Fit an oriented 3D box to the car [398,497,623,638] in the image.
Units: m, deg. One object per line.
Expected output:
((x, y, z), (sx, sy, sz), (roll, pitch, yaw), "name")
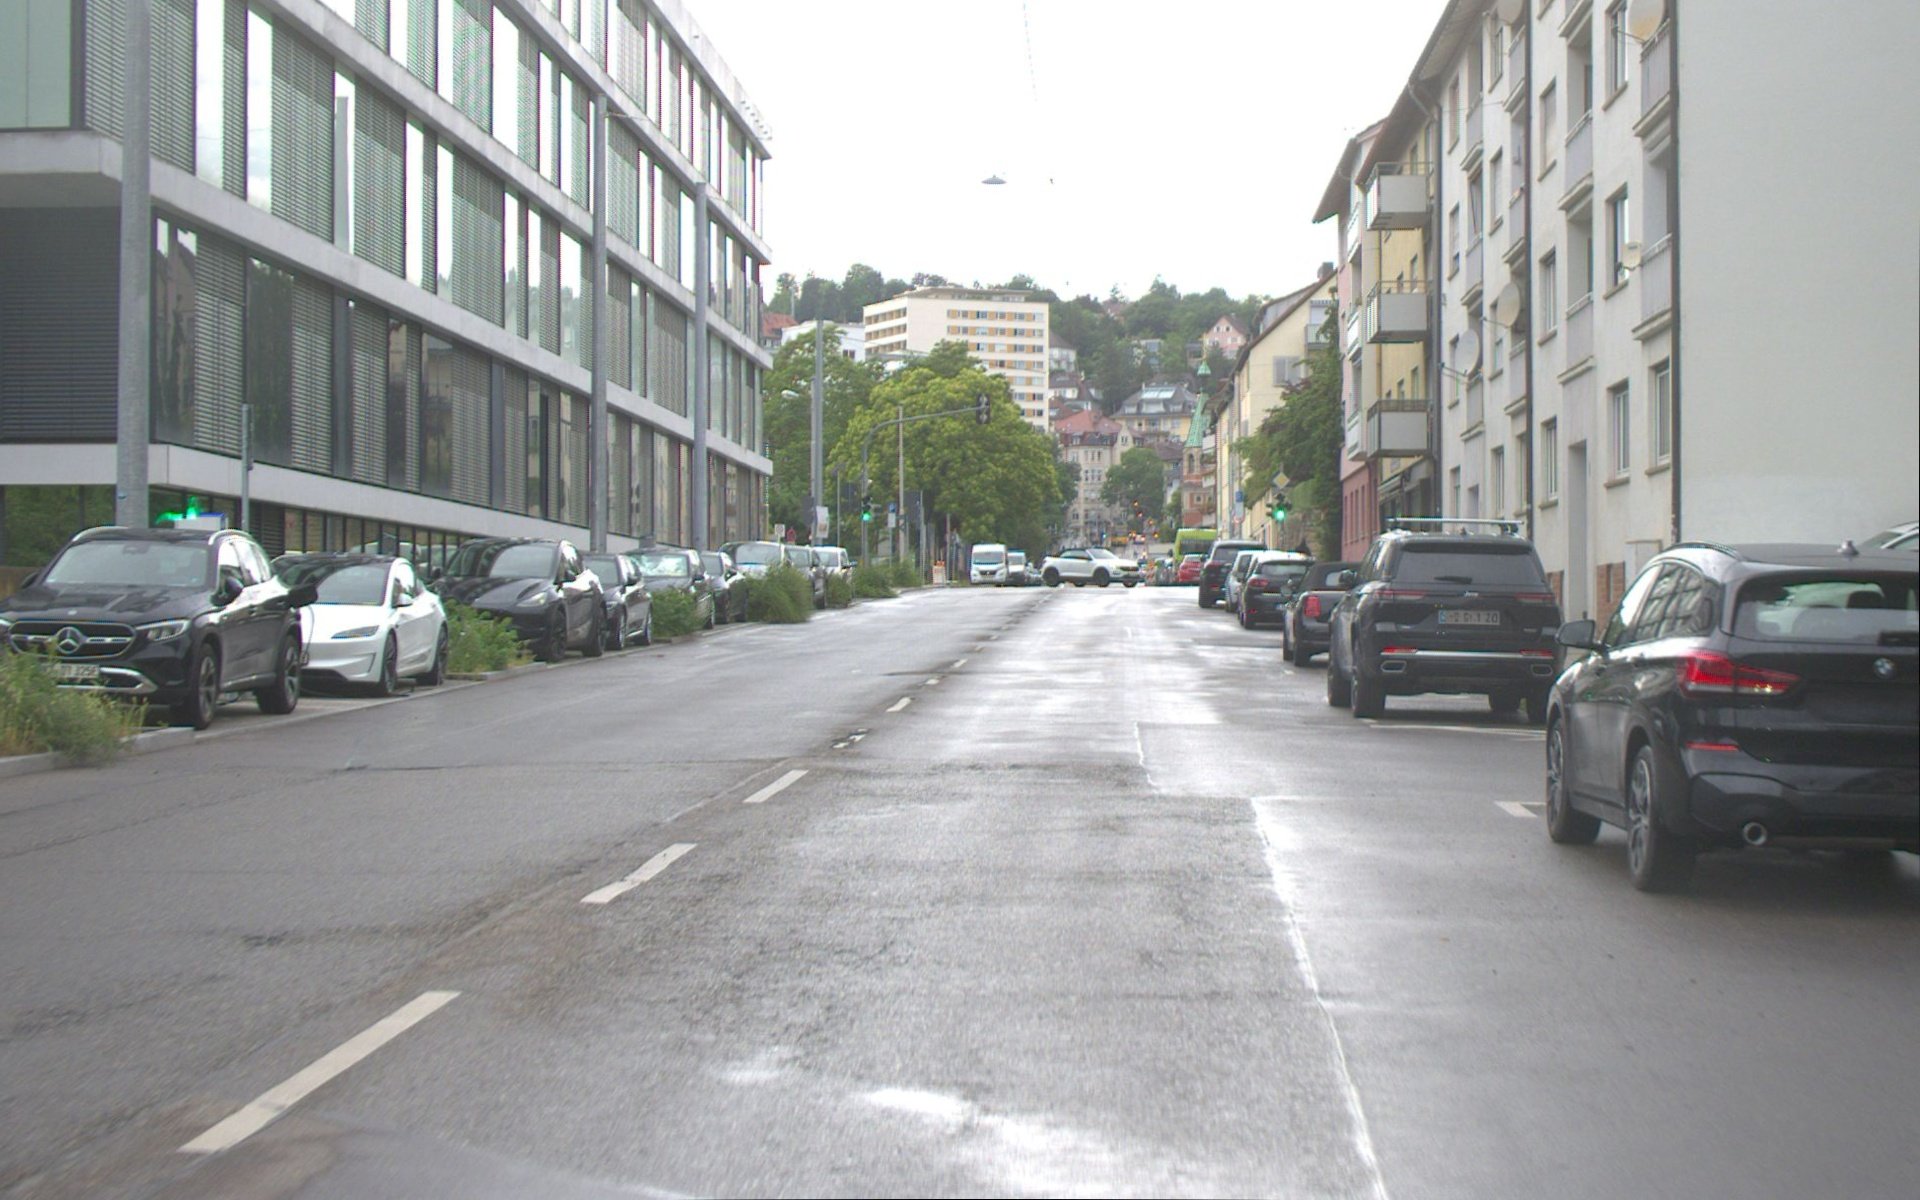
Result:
((-5.996, -0.456, 46.454), (1.963, 1.744, 4.941), (2, 1, 5), "car")

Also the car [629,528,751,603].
((-5.312, -0.695, 68.090), (1.838, 1.391, 4.392), (2, 1, 3), "car")

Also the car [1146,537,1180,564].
((12.414, -2.997, 210.237), (1.867, 1.598, 4.188), (2, 1, 6), "car")

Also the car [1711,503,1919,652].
((11.626, -0.323, 42.051), (4.438, 1.707, 1.905), (-2, 1, 2), "car")

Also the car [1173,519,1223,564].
((9.710, -2.371, 140.228), (1.867, 1.764, 4.188), (2, 1, 6), "car")

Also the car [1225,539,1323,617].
((6.193, -0.454, 68.142), (1.706, 1.449, 3.984), (1, 1, 2), "car")

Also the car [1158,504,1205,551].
((9.641, -3.146, 149.379), (1.867, 1.966, 4.188), (2, 1, 6), "car")

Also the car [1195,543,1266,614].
((6.966, -0.580, 88.820), (1.655, 1.732, 4.179), (1, 2, 2), "car")

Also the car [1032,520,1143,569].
((4.920, -2.139, 133.202), (4.202, 1.663, 1.636), (-1, -4, 42), "car")

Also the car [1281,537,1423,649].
((5.477, -0.132, 48.371), (1.673, 1.454, 3.764), (1, 1, 2), "car")

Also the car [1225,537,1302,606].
((7.222, -0.705, 82.016), (1.635, 1.566, 3.711), (1, 1, 2), "car")

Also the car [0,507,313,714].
((-7.041, 0.042, 29.644), (1.849, 1.612, 4.490), (2, 1, 3), "car")

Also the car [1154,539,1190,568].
((12.028, -2.623, 194.879), (1.867, 1.598, 4.188), (2, 1, 6), "car")

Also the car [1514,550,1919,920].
((3.902, 0.552, 16.760), (1.743, 1.528, 4.319), (2, 1, 1), "car")

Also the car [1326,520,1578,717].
((4.747, 0.126, 33.774), (1.935, 1.744, 4.796), (1, 1, 2), "car")

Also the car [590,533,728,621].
((-5.364, -0.436, 61.741), (1.863, 1.484, 4.346), (2, 1, 3), "car")

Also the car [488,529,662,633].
((-5.817, -0.319, 52.406), (1.871, 1.467, 4.740), (2, 1, 3), "car")

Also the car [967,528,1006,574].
((1.522, -2.797, 196.217), (2.105, 2.537, 4.751), (1, 1, 0), "car")

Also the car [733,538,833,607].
((-4.286, -0.675, 83.738), (1.802, 1.598, 4.233), (2, 1, 5), "car")

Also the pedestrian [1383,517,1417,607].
((9.275, -0.806, 72.492), (0.639, 1.864, 0.538), (2, 1, 5), "pedestrian")

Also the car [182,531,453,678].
((-6.710, 0.005, 36.338), (1.821, 1.414, 4.402), (2, 1, 3), "car")
